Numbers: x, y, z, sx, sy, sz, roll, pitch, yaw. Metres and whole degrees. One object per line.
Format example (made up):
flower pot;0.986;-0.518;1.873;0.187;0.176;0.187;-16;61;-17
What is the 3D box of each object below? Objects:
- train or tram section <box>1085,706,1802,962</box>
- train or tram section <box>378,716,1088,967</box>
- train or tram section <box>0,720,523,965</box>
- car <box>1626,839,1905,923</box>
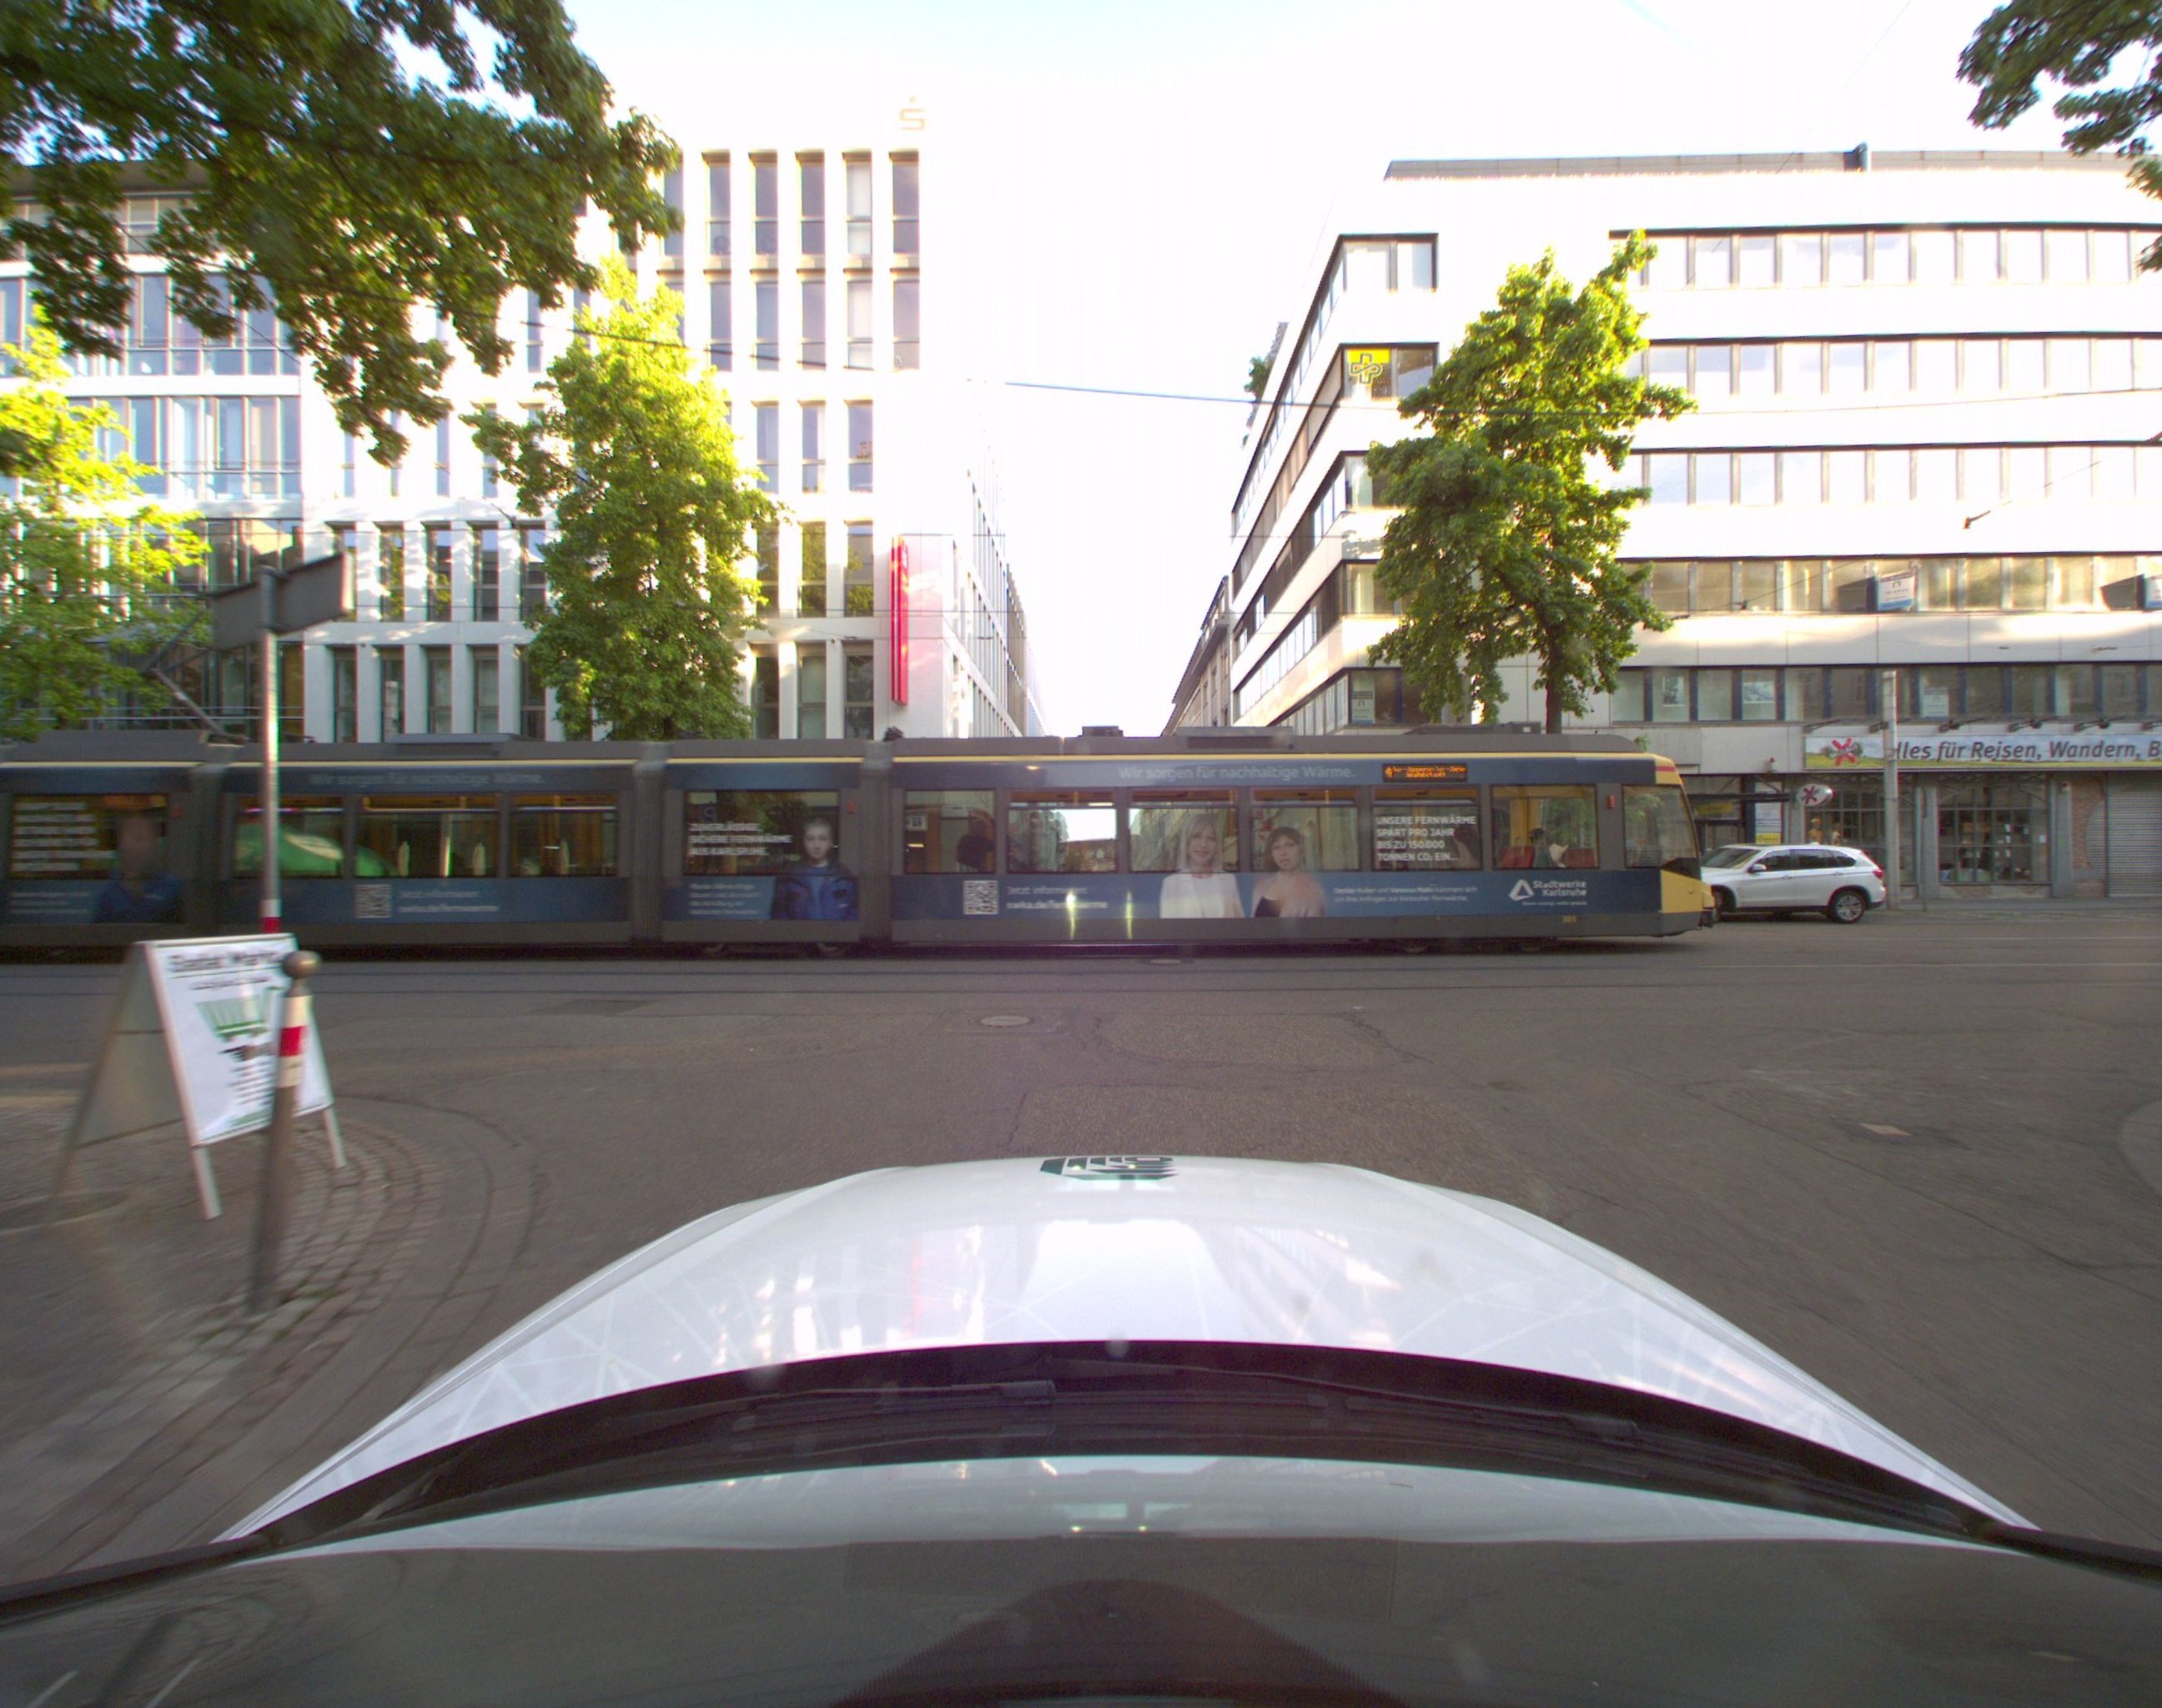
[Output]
train or tram section;5.273;-0.277;13.338;10.300;3.524;3.027;-1;-1;1
train or tram section;-5.099;-0.155;13.417;10.331;3.524;3.017;-1;-1;1
train or tram section;-15.683;-0.112;13.494;10.771;3.524;3.013;-1;-1;1
car;15.461;0.580;18.621;4.635;1.770;2.002;0;2;3
